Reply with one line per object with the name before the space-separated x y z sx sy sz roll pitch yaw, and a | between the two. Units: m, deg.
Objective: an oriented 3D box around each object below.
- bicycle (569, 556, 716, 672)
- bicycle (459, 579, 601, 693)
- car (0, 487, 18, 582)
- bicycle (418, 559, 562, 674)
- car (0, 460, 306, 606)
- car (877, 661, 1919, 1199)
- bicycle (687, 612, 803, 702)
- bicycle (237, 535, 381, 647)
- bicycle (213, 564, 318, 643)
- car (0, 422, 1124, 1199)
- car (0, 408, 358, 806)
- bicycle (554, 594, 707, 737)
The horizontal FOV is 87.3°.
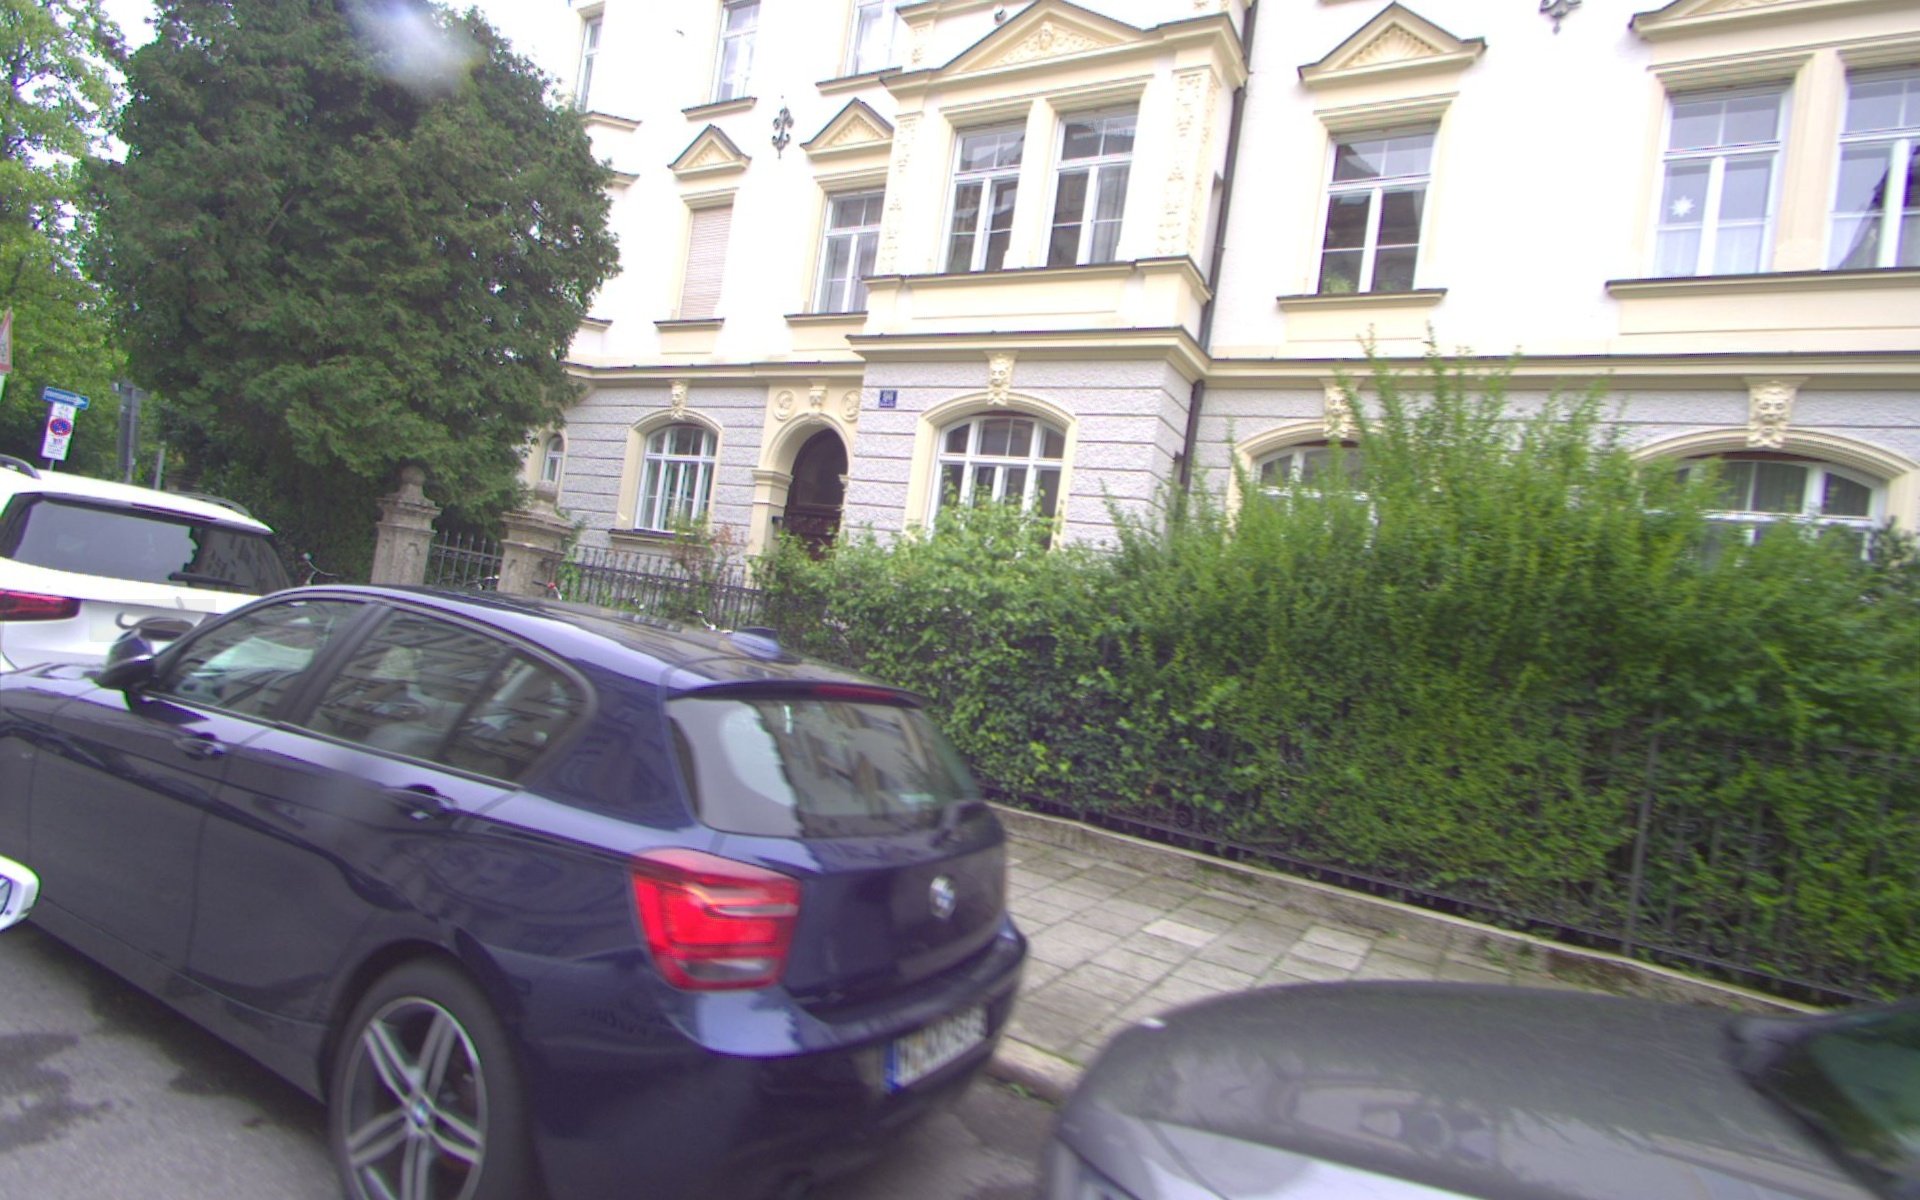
bicycle | -3.855 0.203 12.351 0.481 1.196 1.705 7 -3 29
bicycle | -4.666 0.423 10.990 0.448 1.111 1.312 7 -1 29
car | -10.113 -0.493 8.697 3.569 1.534 1.729 7 -4 30
bicycle | -5.780 0.240 12.455 0.481 1.211 1.493 7 -4 26
car | -15.309 -1.173 18.940 1.869 1.973 4.543 9 0 25
car | 1.986 1.165 1.298 3.949 1.521 1.689 7 -2 29
bicycle | -2.950 0.817 13.981 0.481 1.122 1.704 7 -1 28
bicycle | -7.571 -0.101 11.717 1.328 1.107 0.515 8 -1 13
bicycle | -8.581 0.037 12.414 1.332 0.790 0.513 7 -1 32
car | -1.872 0.471 3.580 4.346 1.628 1.756 8 -3 28
car | -5.888 -0.083 6.203 4.340 1.787 1.728 7 -4 32
bicycle | -3.030 0.589 9.224 1.291 1.111 0.455 7 -1 30
